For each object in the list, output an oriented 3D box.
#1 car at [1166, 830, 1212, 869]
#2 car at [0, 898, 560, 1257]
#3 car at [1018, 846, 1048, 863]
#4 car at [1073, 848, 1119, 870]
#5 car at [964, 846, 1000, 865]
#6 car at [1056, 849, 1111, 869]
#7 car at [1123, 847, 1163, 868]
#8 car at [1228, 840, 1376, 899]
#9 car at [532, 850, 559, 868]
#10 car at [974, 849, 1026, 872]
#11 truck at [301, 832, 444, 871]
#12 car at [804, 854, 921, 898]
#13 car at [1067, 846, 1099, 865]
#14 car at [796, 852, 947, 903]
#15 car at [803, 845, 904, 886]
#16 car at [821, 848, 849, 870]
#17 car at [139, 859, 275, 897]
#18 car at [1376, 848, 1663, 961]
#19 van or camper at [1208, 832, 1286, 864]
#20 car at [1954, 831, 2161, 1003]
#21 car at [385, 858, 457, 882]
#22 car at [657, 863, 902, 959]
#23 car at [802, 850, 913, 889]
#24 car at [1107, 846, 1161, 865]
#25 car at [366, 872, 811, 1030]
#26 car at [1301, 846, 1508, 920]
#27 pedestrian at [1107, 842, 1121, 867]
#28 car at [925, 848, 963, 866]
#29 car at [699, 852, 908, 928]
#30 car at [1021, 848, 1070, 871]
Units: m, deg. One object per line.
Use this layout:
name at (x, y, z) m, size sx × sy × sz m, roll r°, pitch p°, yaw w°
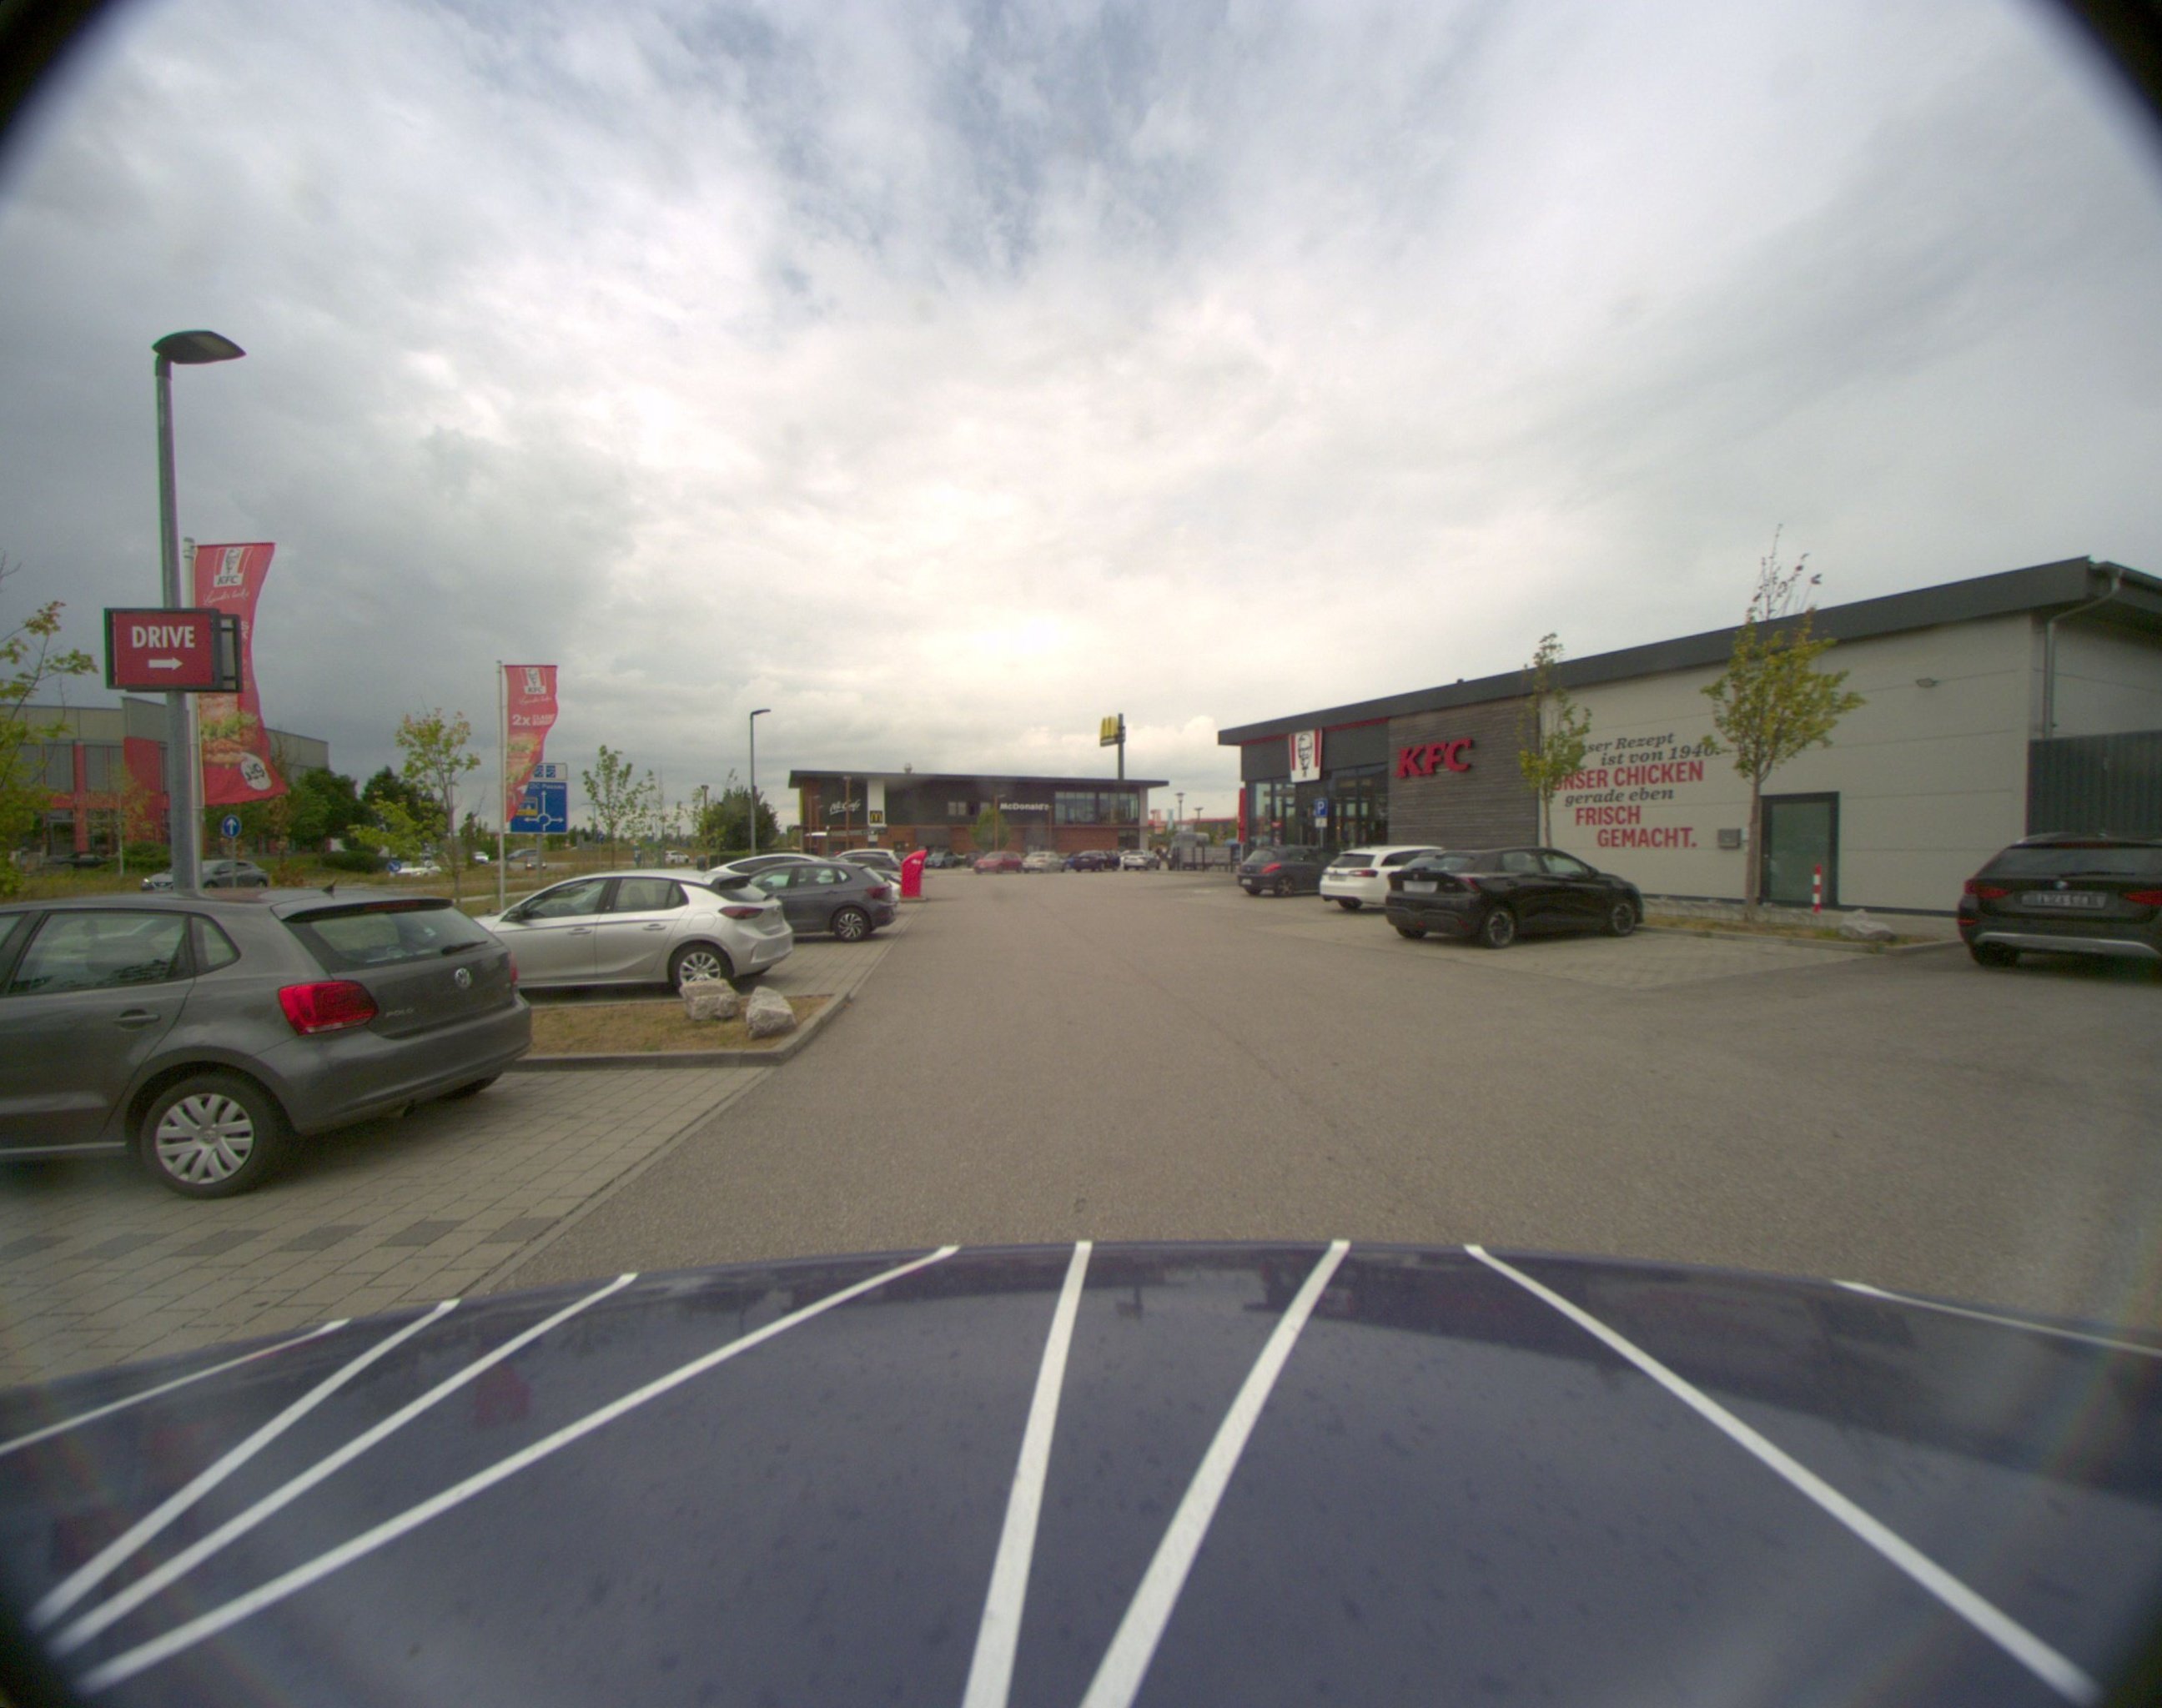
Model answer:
car at (7.758, -0.298, 53.932) m, size 2.069 × 2.538 × 7.022 m, roll -1°, pitch 0°, yaw 18°
car at (-5.502, 1.085, 4.153) m, size 3.998 × 1.420 × 1.727 m, roll -2°, pitch 1°, yaw -4°
car at (-4.945, 0.046, 78.062) m, size 1.755 × 1.743 × 3.991 m, roll 1°, pitch 1°, yaw -24°
car at (1.076, 0.332, 51.523) m, size 1.683 × 1.454 × 4.414 m, roll -1°, pitch 0°, yaw 21°
car at (-9.206, 0.147, 71.110) m, size 1.996 × 1.739 × 4.005 m, roll 1°, pitch 0°, yaw 14°
car at (0.216, 0.354, 60.932) m, size 3.990 × 1.501 × 1.772 m, roll 1°, pitch 1°, yaw 23°
car at (4.420, 0.250, 53.882) m, size 1.683 × 1.443 × 4.006 m, roll -1°, pitch 0°, yaw 22°
car at (6.602, 0.420, 22.745) m, size 3.943 × 1.478 × 1.755 m, roll -3°, pitch 1°, yaw -21°
car at (-56.336, 0.488, 80.005) m, size 2.003 × 1.696 × 3.989 m, roll 0°, pitch 2°, yaw -31°
car at (-5.258, 0.408, 49.671) m, size 1.683 × 1.455 × 4.006 m, roll -1°, pitch 0°, yaw 22°
truck at (-83.726, -0.275, 90.130) m, size 12.004 × 4.473 × 3.762 m, roll 1°, pitch 1°, yaw -15°
car at (-8.264, 0.775, 28.807) m, size 4.073 × 1.404 × 1.885 m, roll -3°, pitch 1°, yaw -18°
car at (0.271, 0.077, 74.994) m, size 1.894 × 1.653 × 4.263 m, roll 1°, pitch 3°, yaw 19°
car at (-7.137, 0.752, 26.010) m, size 4.745 × 1.448 × 1.908 m, roll -3°, pitch 1°, yaw -18°
car at (-10.721, 0.500, 35.949) m, size 4.375 × 1.703 × 1.989 m, roll -3°, pitch 1°, yaw -18°
car at (-20.148, 0.416, 62.245) m, size 1.813 × 1.680 × 4.182 m, roll 1°, pitch 1°, yaw -23°
car at (-36.281, 0.962, 31.715) m, size 1.756 × 1.482 × 4.124 m, roll -1°, pitch -1°, yaw -17°
car at (6.952, 0.687, 12.071) m, size 4.127 × 1.519 × 1.738 m, roll -1°, pitch 1°, yaw -21°
van or camper at (15.080, -0.525, 69.078) m, size 6.557 × 2.685 × 2.176 m, roll -1°, pitch 0°, yaw 26°
car at (11.890, 0.562, 8.351) m, size 4.004 × 1.587 × 1.733 m, roll -2°, pitch 2°, yaw -21°
car at (-42.242, 1.023, 48.741) m, size 1.756 × 1.482 × 4.125 m, roll -1°, pitch -1°, yaw -14°
car at (-5.332, 0.978, 13.908) m, size 3.808 × 1.404 × 1.737 m, roll -2°, pitch 1°, yaw -9°
car at (-9.798, 0.646, 33.409) m, size 4.519 × 1.458 × 1.944 m, roll -3°, pitch 1°, yaw -18°
car at (4.388, 0.161, 62.694) m, size 4.102 × 1.458 × 1.783 m, roll -1°, pitch -1°, yaw 18°
car at (-5.501, 1.033, 8.993) m, size 3.938 × 1.404 × 1.838 m, roll -2°, pitch 1°, yaw -6°
car at (7.467, 0.593, 17.595) m, size 4.183 × 1.478 × 1.996 m, roll -1°, pitch 2°, yaw -21°
pedestrian at (2.262, 0.015, 51.598) m, size 0.747 × 1.668 × 0.844 m, roll 1°, pitch 1°, yaw 20°
car at (-12.591, 0.234, 69.884) m, size 1.746 × 1.575 × 3.910 m, roll 1°, pitch 1°, yaw 18°
car at (-6.681, 0.827, 18.837) m, size 4.546 × 1.532 × 1.923 m, roll -3°, pitch 1°, yaw -11°
car at (-2.316, 0.351, 50.579) m, size 1.750 × 1.404 × 4.466 m, roll -1°, pitch 0°, yaw 18°
